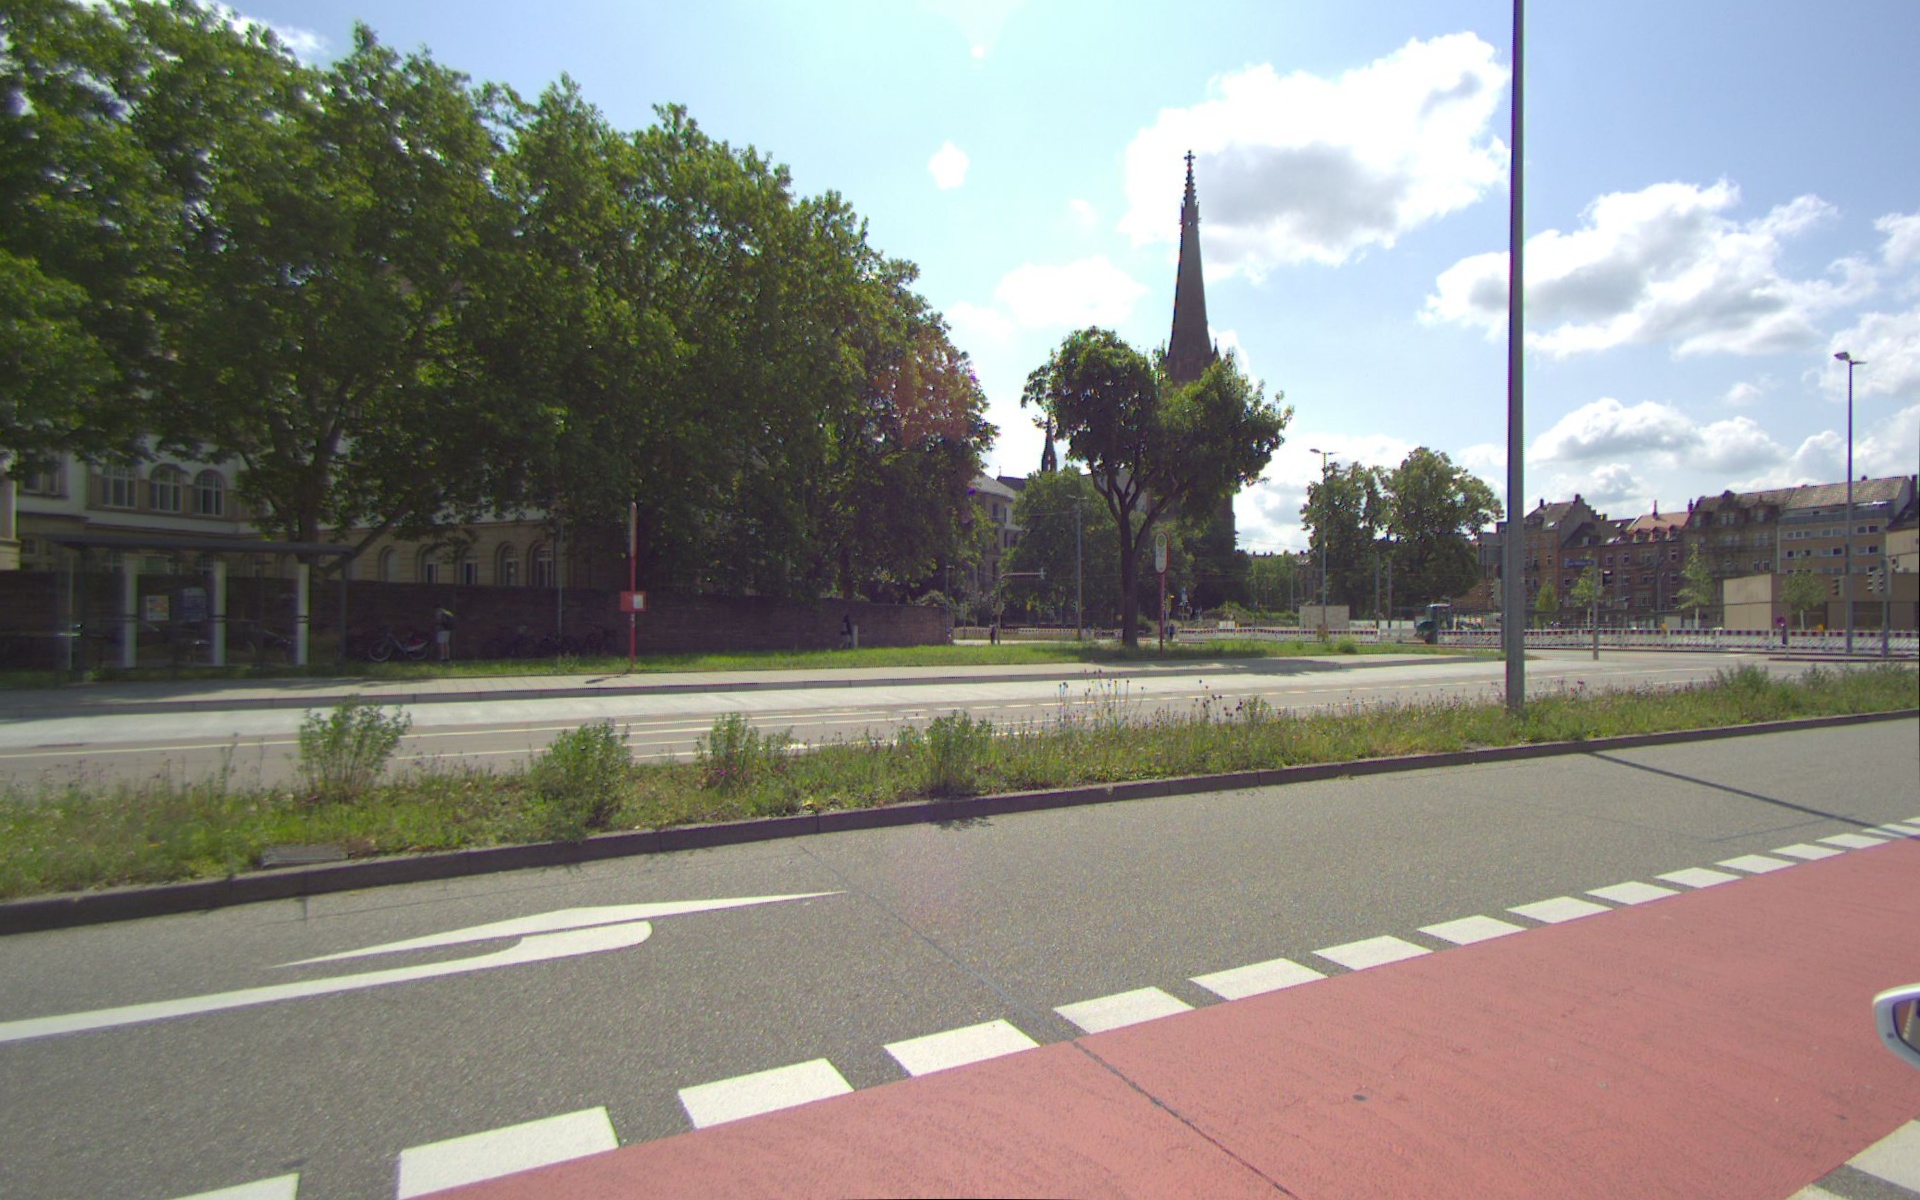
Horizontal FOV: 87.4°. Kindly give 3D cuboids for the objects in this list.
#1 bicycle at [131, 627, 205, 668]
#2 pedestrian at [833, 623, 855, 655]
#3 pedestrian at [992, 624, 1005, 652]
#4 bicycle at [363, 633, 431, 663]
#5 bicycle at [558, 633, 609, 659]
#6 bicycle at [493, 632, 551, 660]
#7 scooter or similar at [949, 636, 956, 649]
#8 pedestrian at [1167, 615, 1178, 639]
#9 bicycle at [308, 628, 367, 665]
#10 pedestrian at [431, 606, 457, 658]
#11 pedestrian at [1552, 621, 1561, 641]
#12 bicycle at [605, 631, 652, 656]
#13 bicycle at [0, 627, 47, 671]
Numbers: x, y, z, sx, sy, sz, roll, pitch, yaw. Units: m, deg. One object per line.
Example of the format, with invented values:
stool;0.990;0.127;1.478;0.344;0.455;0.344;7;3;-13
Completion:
bicycle;-19.414;1.157;24.644;0.260;0.977;1.391;0;-1;36
pedestrian;-5.129;1.714;44.539;0.720;1.413;0.714;1;-1;-35
pedestrian;2.845;2.833;74.686;0.713;2.040;0.721;1;-1;-32
bicycle;-16.235;1.379;29.011;0.324;0.828;1.743;0;-1;36
bicycle;-12.775;1.550;34.152;0.324;0.828;1.743;0;-1;36
bicycle;-14.019;1.461;32.191;0.378;0.828;1.743;0;-1;36
scooter or similar;-0.430;2.474;58.979;0.117;0.721;1.005;0;-1;17
pedestrian;17.909;2.257;84.645;0.622;2.040;0.646;0;0;-20
bicycle;-17.155;1.265;27.714;0.260;0.977;1.391;0;-1;36
pedestrian;-15.102;0.937;29.383;0.627;1.492;0.506;1;-1;-32
pedestrian;50.438;2.607;84.934;0.409;1.674;0.425;2;0;4
bicycle;-11.770;1.542;35.678;0.324;0.828;1.743;0;-1;36
bicycle;-21.254;1.090;22.323;0.260;0.977;1.391;0;-1;36
